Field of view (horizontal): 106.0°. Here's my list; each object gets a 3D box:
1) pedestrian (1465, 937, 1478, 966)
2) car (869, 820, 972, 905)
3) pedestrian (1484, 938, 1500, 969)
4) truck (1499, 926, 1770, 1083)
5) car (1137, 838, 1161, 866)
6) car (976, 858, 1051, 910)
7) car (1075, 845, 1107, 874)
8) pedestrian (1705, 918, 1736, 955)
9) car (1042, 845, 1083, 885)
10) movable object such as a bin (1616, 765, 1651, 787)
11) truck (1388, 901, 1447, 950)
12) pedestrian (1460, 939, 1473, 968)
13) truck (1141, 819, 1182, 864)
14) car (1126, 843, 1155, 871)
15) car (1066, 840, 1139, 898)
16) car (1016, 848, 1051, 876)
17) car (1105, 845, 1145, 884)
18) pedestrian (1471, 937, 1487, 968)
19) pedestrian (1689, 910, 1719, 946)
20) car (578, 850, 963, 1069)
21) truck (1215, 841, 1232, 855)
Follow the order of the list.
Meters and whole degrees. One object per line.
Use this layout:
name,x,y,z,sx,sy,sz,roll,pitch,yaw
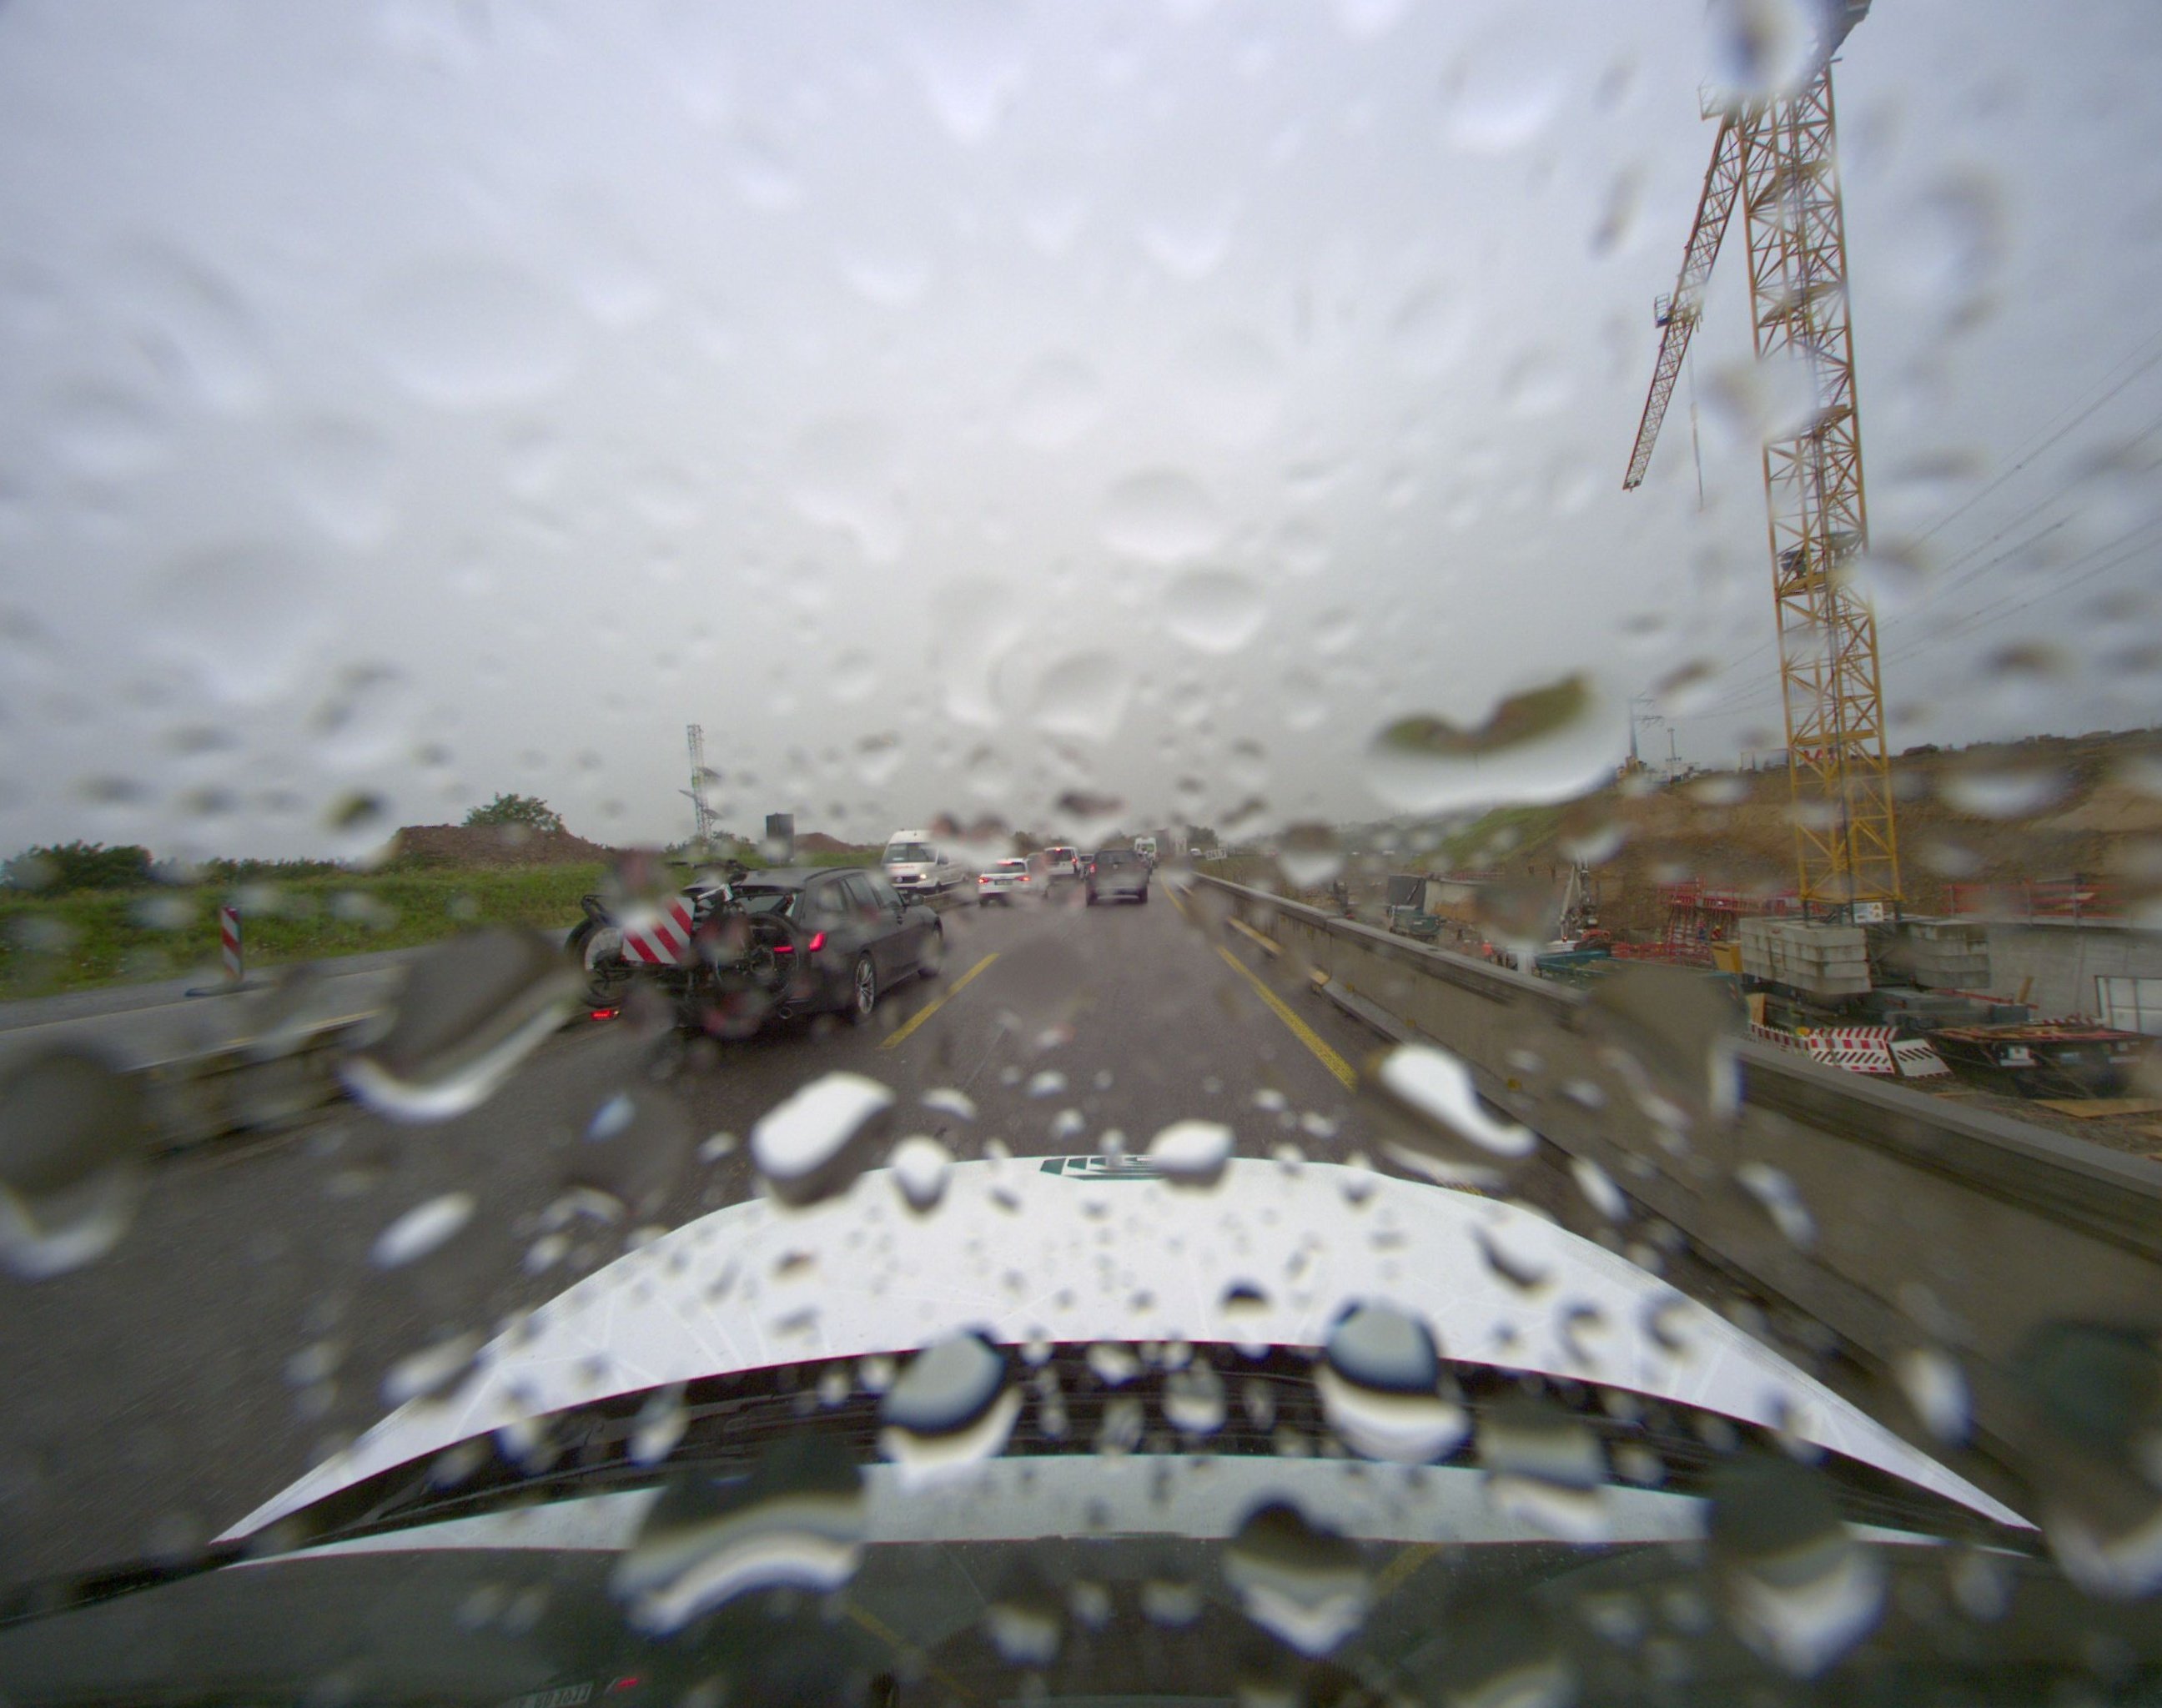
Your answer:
pedestrian,26.772,6.694,55.859,0.568,1.869,0.740,-2,-1,41
car,-5.378,0.242,28.243,2.016,2.548,5.962,-2,0,3
pedestrian,27.099,6.564,53.708,0.726,1.944,0.579,-2,-1,43
truck,17.330,4.481,26.595,2.691,3.503,8.944,-1,-1,0
car,6.215,-0.186,74.545,1.815,2.437,4.168,-1,-1,9
car,-2.062,0.920,26.019,1.819,1.499,4.003,-1,-1,3
car,0.724,0.367,54.311,1.818,1.815,4.005,-1,-1,5
pedestrian,37.285,4.802,47.501,0.897,1.999,0.901,9,0,9
car,-0.857,0.541,40.139,1.820,1.815,4.001,-1,-1,1
movable object such as a bin,71.109,-10.010,104.861,2.412,2.443,3.983,-1,1,13
truck,28.953,6.054,70.465,2.713,3.491,9.089,-1,-1,10
pedestrian,26.057,6.696,55.045,0.569,1.869,0.737,-1,-1,11
truck,9.816,-1.368,98.118,3.519,5.077,10.478,-1,-1,13
car,4.185,0.235,56.660,1.816,1.815,4.008,-1,-1,7
car,0.727,0.448,24.853,1.816,1.591,4.008,-1,-1,7
car,-3.095,0.508,53.924,1.783,1.723,4.291,-1,0,3
car,2.188,0.521,40.100,1.818,1.815,4.004,-1,-1,4
pedestrian,26.505,6.582,54.270,0.576,1.944,0.729,-1,-1,-23
pedestrian,37.574,4.442,49.109,0.897,1.999,0.901,9,0,9
car,-2.708,0.774,8.832,1.728,1.462,5.634,-1,1,3
truck,38.466,-1.662,219.102,3.446,3.715,8.453,-2,0,16
